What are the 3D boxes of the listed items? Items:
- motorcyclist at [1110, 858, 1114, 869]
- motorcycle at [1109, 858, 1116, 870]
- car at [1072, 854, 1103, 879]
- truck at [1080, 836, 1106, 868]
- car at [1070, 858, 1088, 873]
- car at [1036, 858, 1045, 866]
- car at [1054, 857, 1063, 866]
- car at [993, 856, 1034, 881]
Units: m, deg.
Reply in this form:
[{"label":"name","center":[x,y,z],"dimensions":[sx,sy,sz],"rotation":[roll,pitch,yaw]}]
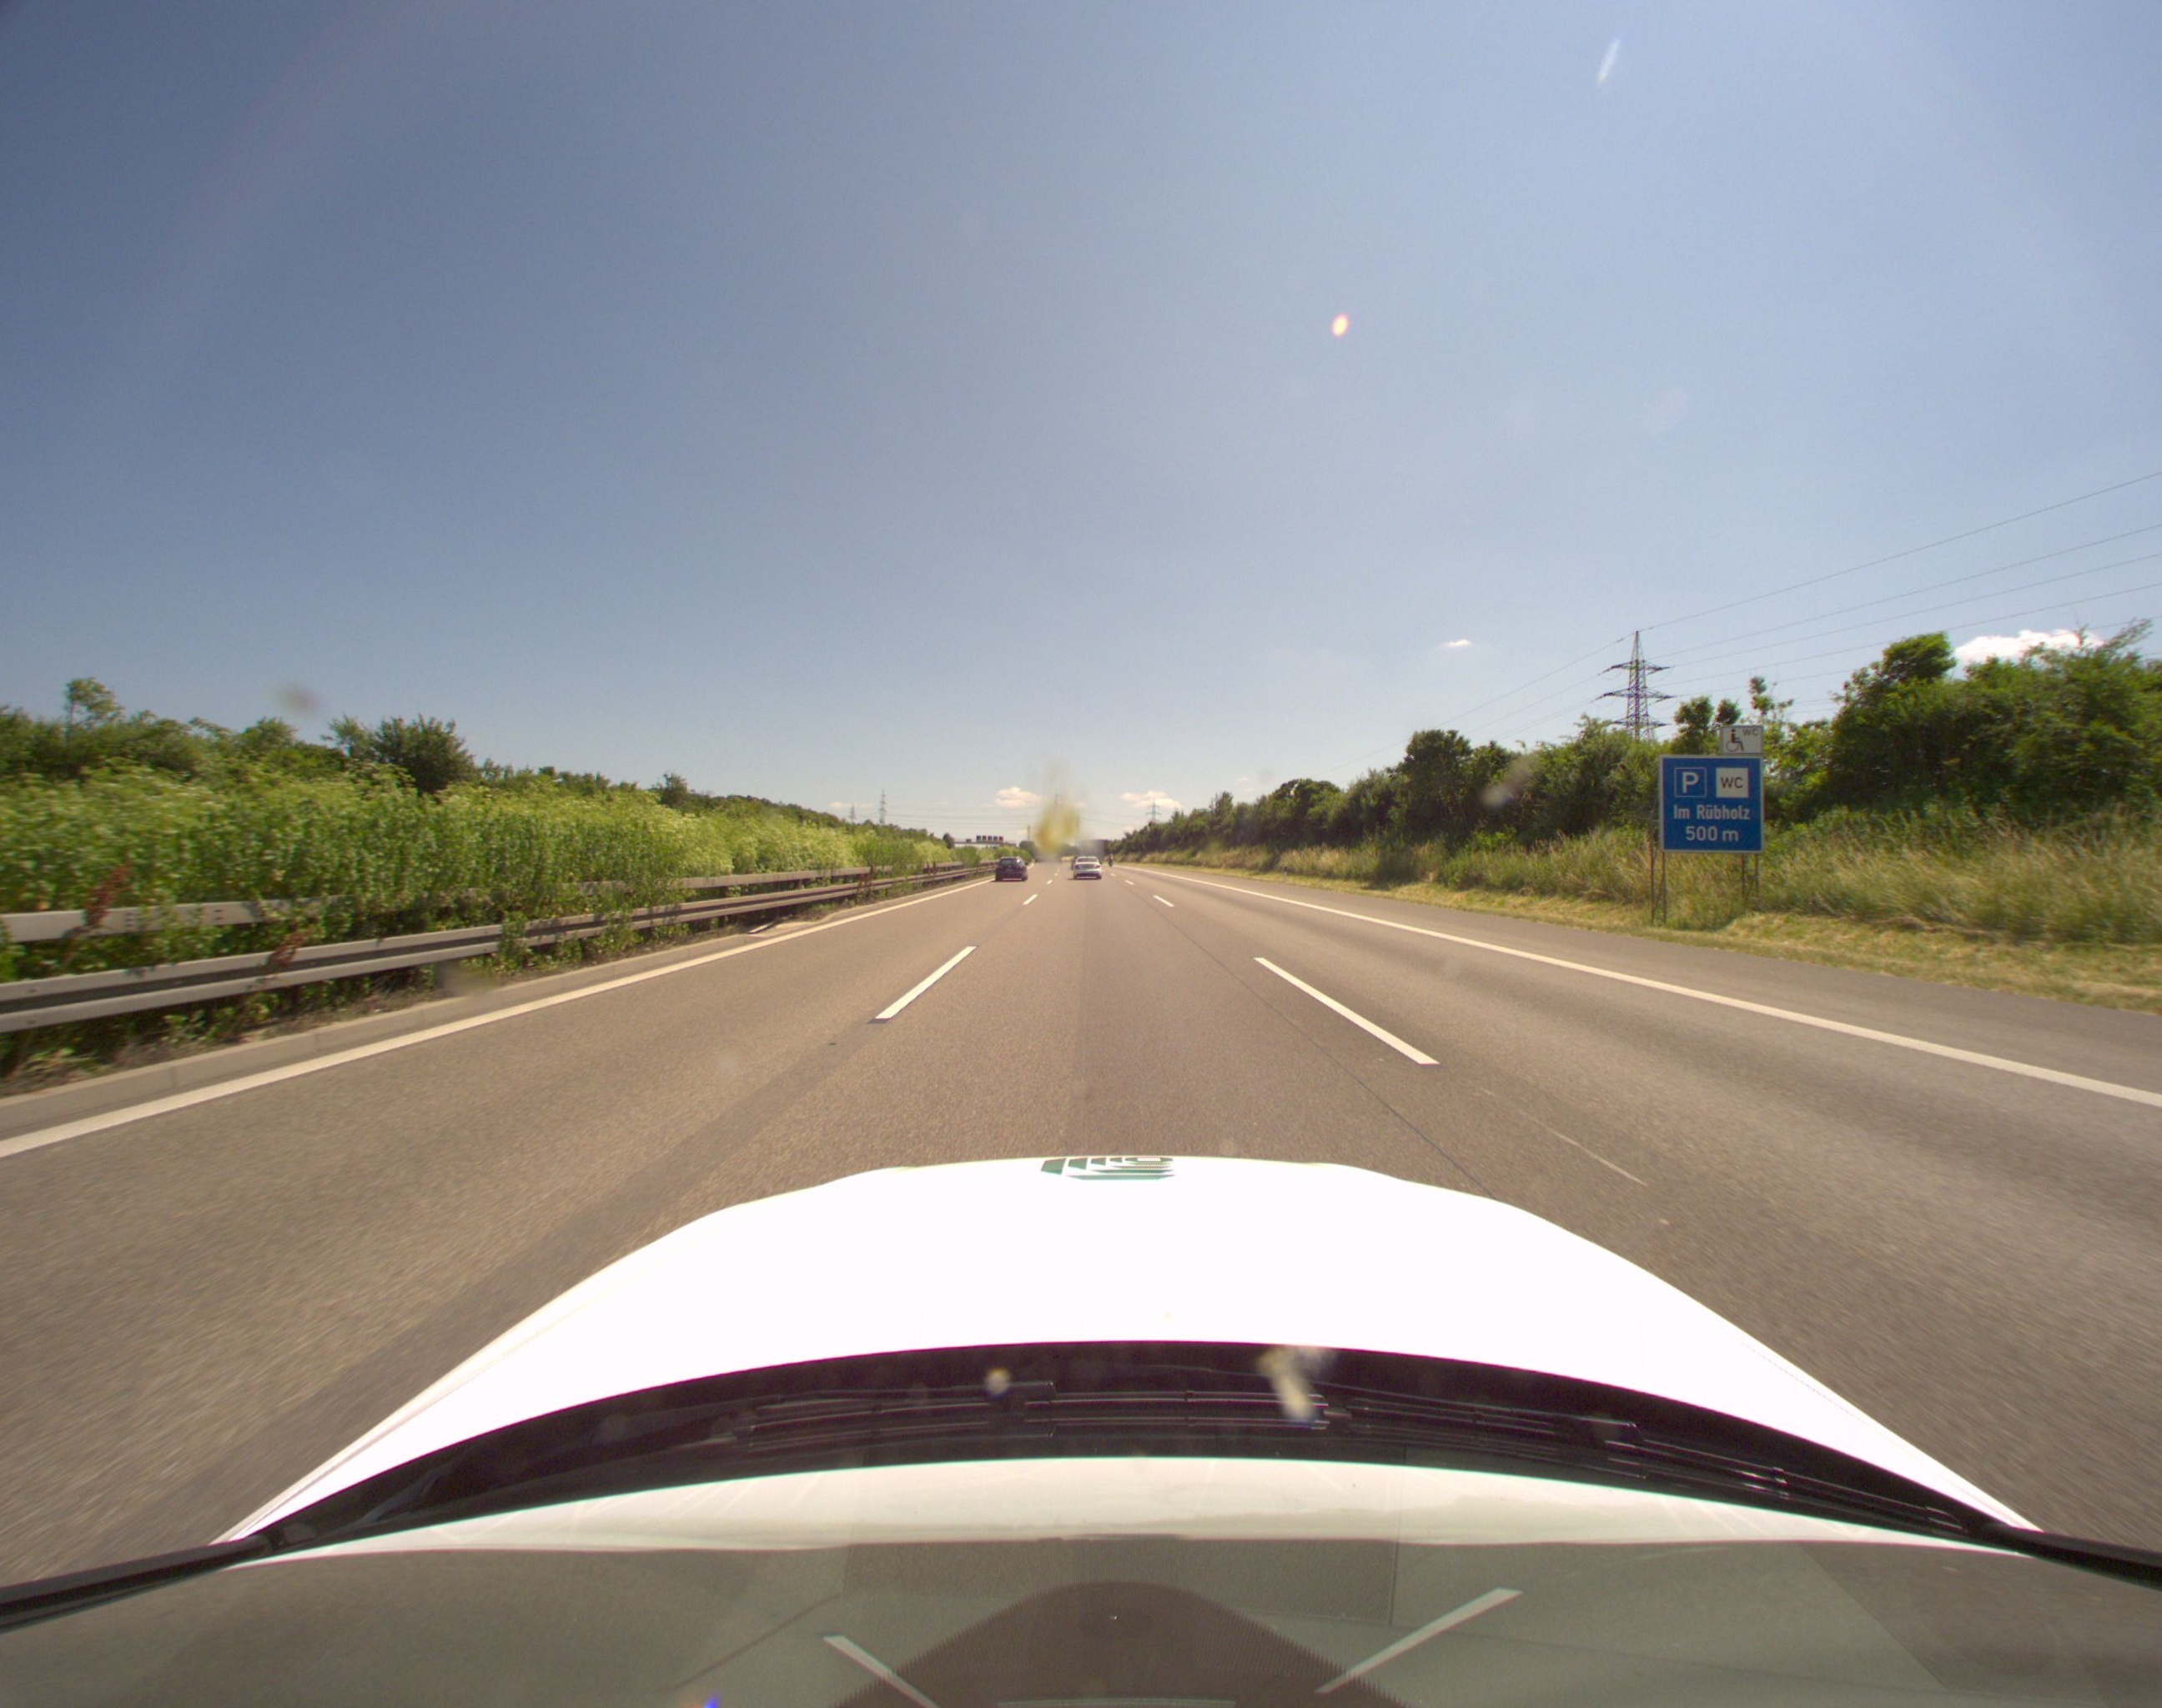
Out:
[{"label":"motorcyclist","center":[4.283,1.310,112.825],"dimensions":[0.570,1.479,0.700],"rotation":[-1,0,0]},{"label":"motorcycle","center":[4.324,1.425,112.911],"dimensions":[0.807,1.607,1.781],"rotation":[0,-1,-1]},{"label":"car","center":[0.385,0.763,51.677],"dimensions":[1.815,1.540,3.912],"rotation":[-1,0,-2]},{"label":"truck","center":[1.543,-0.215,104.689],"dimensions":[3.210,3.924,9.060],"rotation":[0,-1,0]},{"label":"car","center":[-0.233,1.234,86.680],"dimensions":[1.833,1.540,3.914],"rotation":[-1,0,0]},{"label":"car","center":[-9.639,1.963,193.005],"dimensions":[1.988,1.860,3.997],"rotation":[-1,0,-2]},{"label":"car","center":[-4.761,1.529,173.042],"dimensions":[1.897,1.925,3.997],"rotation":[-1,0,-2]},{"label":"car","center":[-4.012,0.854,48.980],"dimensions":[1.748,1.429,4.007],"rotation":[-1,0,6]}]
